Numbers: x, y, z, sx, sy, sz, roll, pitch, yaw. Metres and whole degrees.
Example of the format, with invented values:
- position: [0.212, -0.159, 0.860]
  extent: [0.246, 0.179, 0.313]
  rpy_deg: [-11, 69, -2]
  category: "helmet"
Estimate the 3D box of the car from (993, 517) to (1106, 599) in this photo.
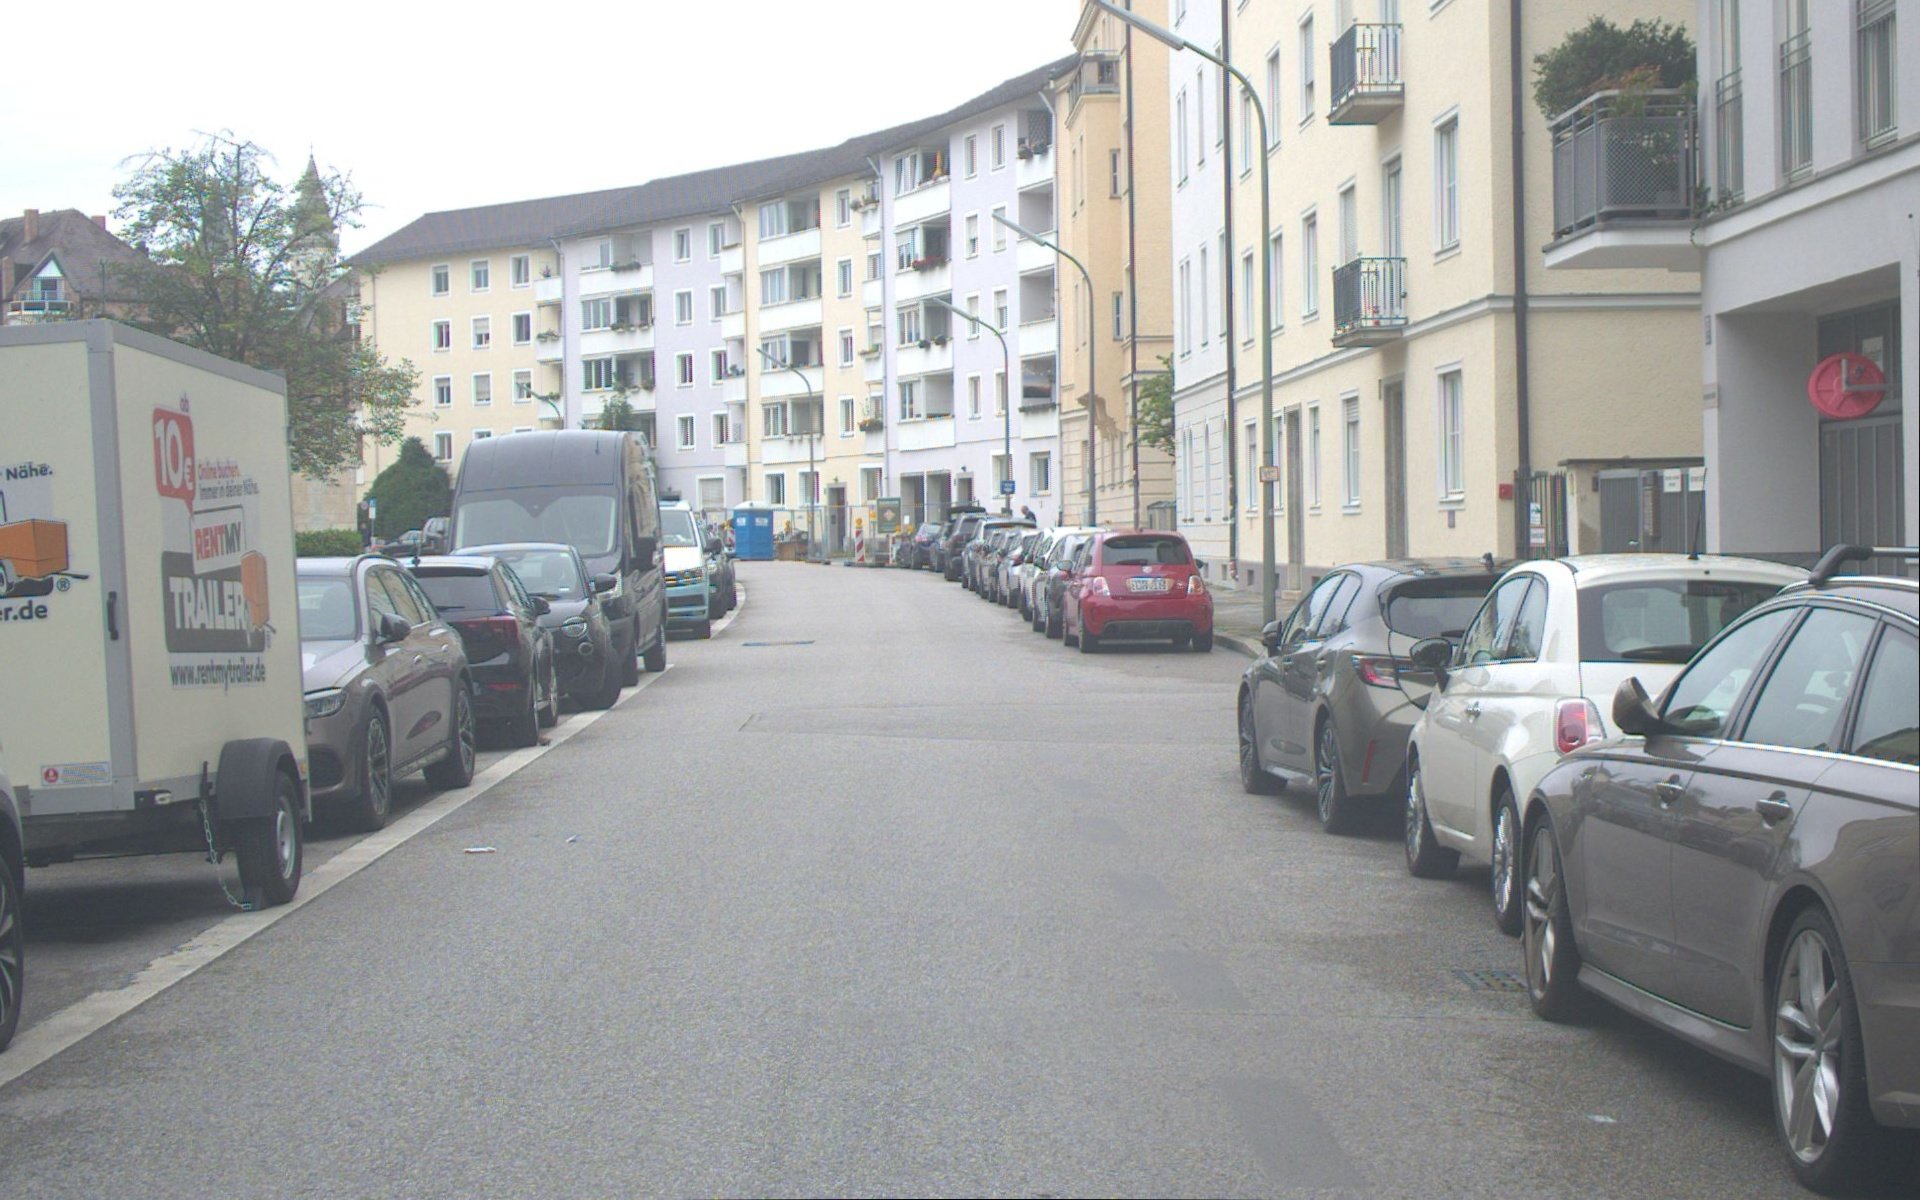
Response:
- position: [1.629, -0.799, 63.955]
  extent: [1.724, 1.445, 4.188]
  rpy_deg: [0, 2, -4]
  category: "car"

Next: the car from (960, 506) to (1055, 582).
- position: [1.048, -1.304, 78.744]
  extent: [1.846, 1.658, 4.499]
  rpy_deg: [0, 2, -3]
  category: "car"

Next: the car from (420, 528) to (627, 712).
- position: [-3.946, 0.130, 31.570]
  extent: [1.652, 1.492, 3.910]
  rpy_deg: [-3, 2, -5]
  category: "car"

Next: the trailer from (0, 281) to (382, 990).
- position: [-3.940, 0.121, 14.357]
  extent: [1.976, 2.463, 4.576]
  rpy_deg: [-4, 1, 2]
  category: "trailer"

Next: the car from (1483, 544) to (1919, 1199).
- position: [2.767, 0.611, 9.271]
  extent: [1.791, 1.477, 4.604]
  rpy_deg: [0, 1, -3]
  category: "car"

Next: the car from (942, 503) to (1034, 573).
- position: [0.684, -1.628, 88.999]
  extent: [2.169, 1.733, 5.025]
  rpy_deg: [0, 2, -2]
  category: "car"

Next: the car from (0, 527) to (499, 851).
- position: [-4.026, 0.403, 20.065]
  extent: [1.863, 1.536, 5.092]
  rpy_deg: [-2, 2, 1]
  category: "car"

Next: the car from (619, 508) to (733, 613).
- position: [-4.910, -0.718, 59.869]
  extent: [1.714, 1.683, 4.141]
  rpy_deg: [-2, 2, -2]
  category: "car"

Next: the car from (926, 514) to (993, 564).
- position: [-0.029, -1.776, 99.194]
  extent: [1.630, 1.412, 3.680]
  rpy_deg: [0, 2, -5]
  category: "car"

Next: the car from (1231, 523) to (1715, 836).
- position: [2.668, 0.339, 18.840]
  extent: [1.771, 1.470, 4.219]
  rpy_deg: [-1, 2, -4]
  category: "car"

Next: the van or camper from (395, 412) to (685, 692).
- position: [-4.354, -0.546, 36.583]
  extent: [2.293, 2.641, 5.562]
  rpy_deg: [-3, 2, 0]
  category: "van or camper"

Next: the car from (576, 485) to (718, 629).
- position: [-4.507, -0.666, 49.551]
  extent: [1.914, 1.953, 4.963]
  rpy_deg: [-1, 2, -5]
  category: "car"

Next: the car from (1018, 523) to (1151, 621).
- position: [1.903, -0.466, 53.710]
  extent: [1.724, 1.425, 4.294]
  rpy_deg: [0, 2, -3]
  category: "car"

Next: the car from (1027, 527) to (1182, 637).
- position: [1.972, -0.291, 48.138]
  extent: [1.773, 1.425, 4.616]
  rpy_deg: [0, 2, -3]
  category: "car"

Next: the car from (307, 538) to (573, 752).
- position: [-3.993, 0.285, 26.970]
  extent: [1.675, 1.431, 4.287]
  rpy_deg: [-3, 2, -4]
  category: "car"

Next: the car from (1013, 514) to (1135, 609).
- position: [1.909, -0.677, 58.637]
  extent: [1.650, 1.538, 3.994]
  rpy_deg: [0, 2, -4]
  category: "car"

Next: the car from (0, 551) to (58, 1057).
- position: [-3.744, 0.695, 9.119]
  extent: [1.679, 1.525, 4.108]
  rpy_deg: [-2, 2, -2]
  category: "car"

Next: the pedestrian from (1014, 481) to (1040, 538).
- position: [2.015, -2.732, 103.945]
  extent: [0.617, 1.684, 0.919]
  rpy_deg: [-4, 1, -2]
  category: "pedestrian"

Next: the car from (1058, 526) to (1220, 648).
- position: [2.205, -0.199, 43.165]
  extent: [1.654, 1.425, 3.757]
  rpy_deg: [0, 2, -3]
  category: "car"

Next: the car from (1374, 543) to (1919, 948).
- position: [2.845, 0.515, 14.724]
  extent: [1.617, 1.462, 3.747]
  rpy_deg: [0, 2, -1]
  category: "car"
